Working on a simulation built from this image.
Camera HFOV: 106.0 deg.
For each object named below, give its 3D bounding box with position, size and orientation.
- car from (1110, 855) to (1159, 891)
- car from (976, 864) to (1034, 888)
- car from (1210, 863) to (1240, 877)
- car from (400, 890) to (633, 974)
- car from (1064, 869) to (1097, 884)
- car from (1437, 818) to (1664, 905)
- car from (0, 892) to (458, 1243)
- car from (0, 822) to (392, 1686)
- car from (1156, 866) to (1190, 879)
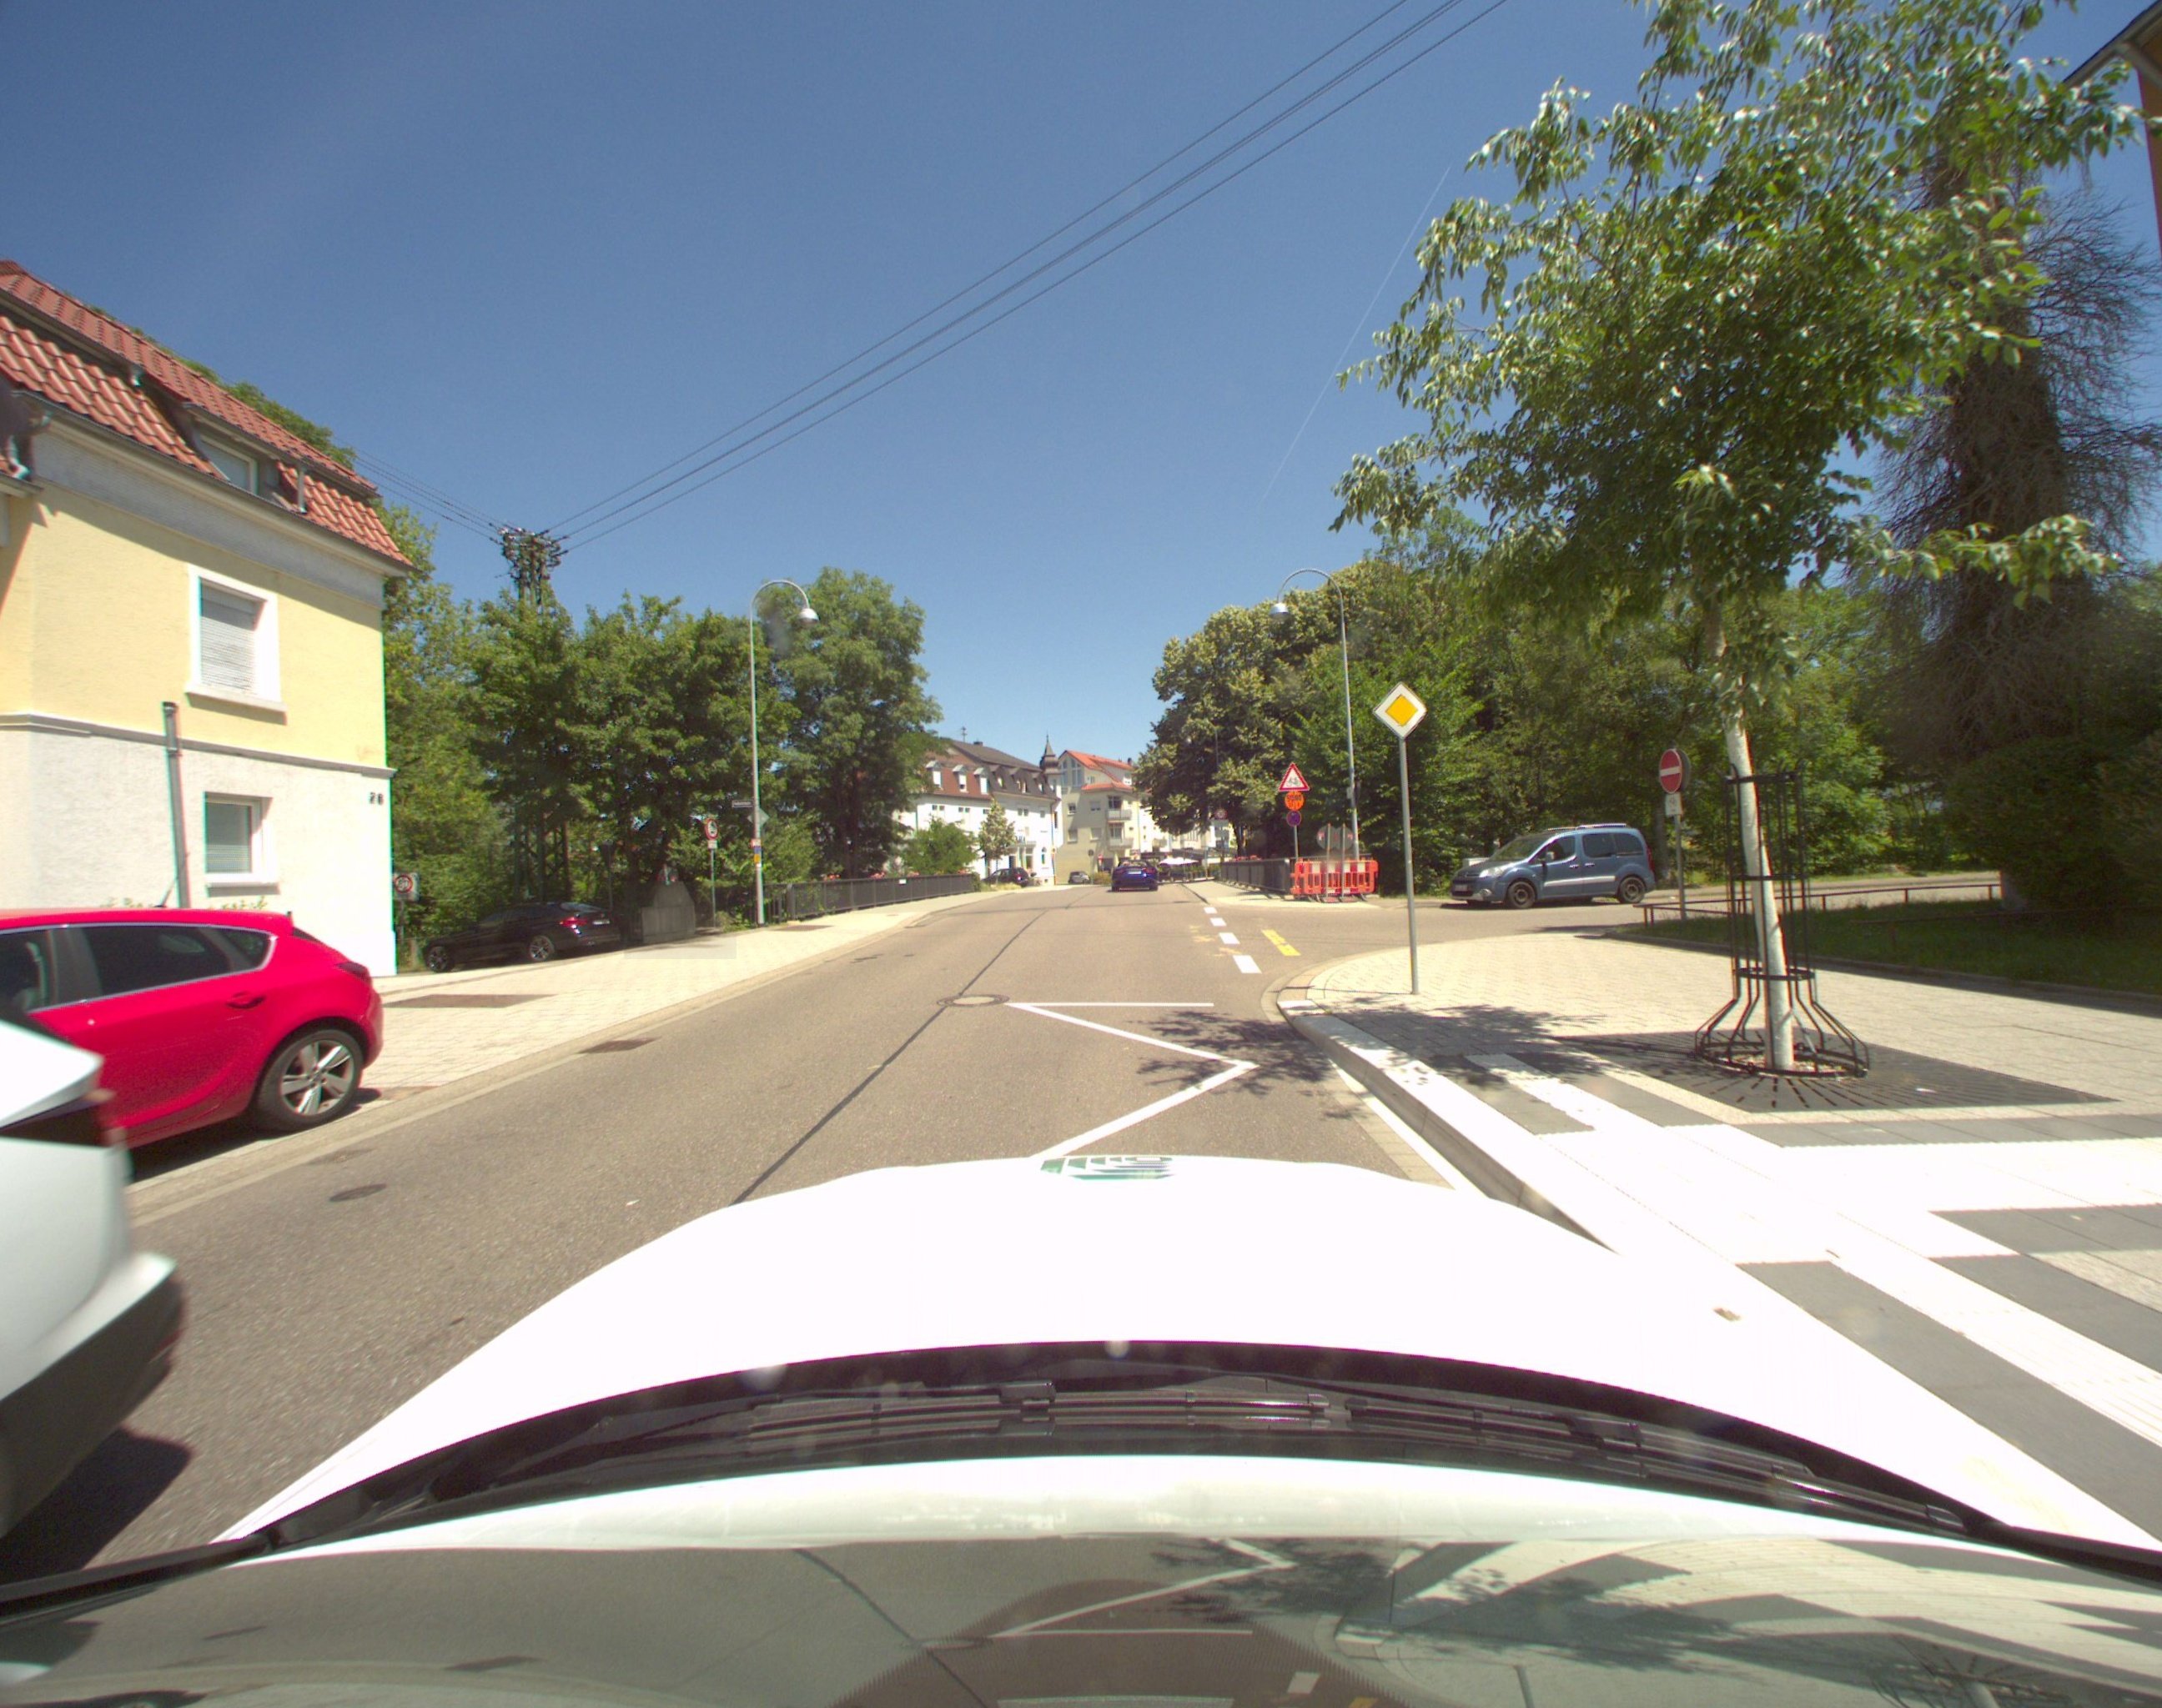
[{"bbox_3d":[2.276,0.785,34.503,1.862,1.342,4.600,-2,-1,4],"label":"car"},{"bbox_3d":[-6.129,1.775,65.408,4.142,1.662,1.982,-3,-2,25],"label":"car"},{"bbox_3d":[17.296,1.916,97.617,1.816,1.429,4.813,-2,-1,32],"label":"car"},{"bbox_3d":[-14.232,1.949,20.686,4.504,1.419,2.004,-7,-1,6],"label":"car"},{"bbox_3d":[-0.048,2.492,91.154,3.232,1.458,1.701,-4,-1,25],"label":"car"},{"bbox_3d":[10.760,0.169,18.816,4.332,1.839,1.746,-1,-1,-7],"label":"car"},{"bbox_3d":[-5.829,1.029,3.927,1.870,1.479,4.740,0,0,2],"label":"car"},{"bbox_3d":[-2.993,0.795,0.160,1.871,1.597,4.359,-4,0,1],"label":"car"},{"bbox_3d":[10.096,2.013,89.181,1.696,1.461,4.155,-1,-1,40],"label":"car"}]
